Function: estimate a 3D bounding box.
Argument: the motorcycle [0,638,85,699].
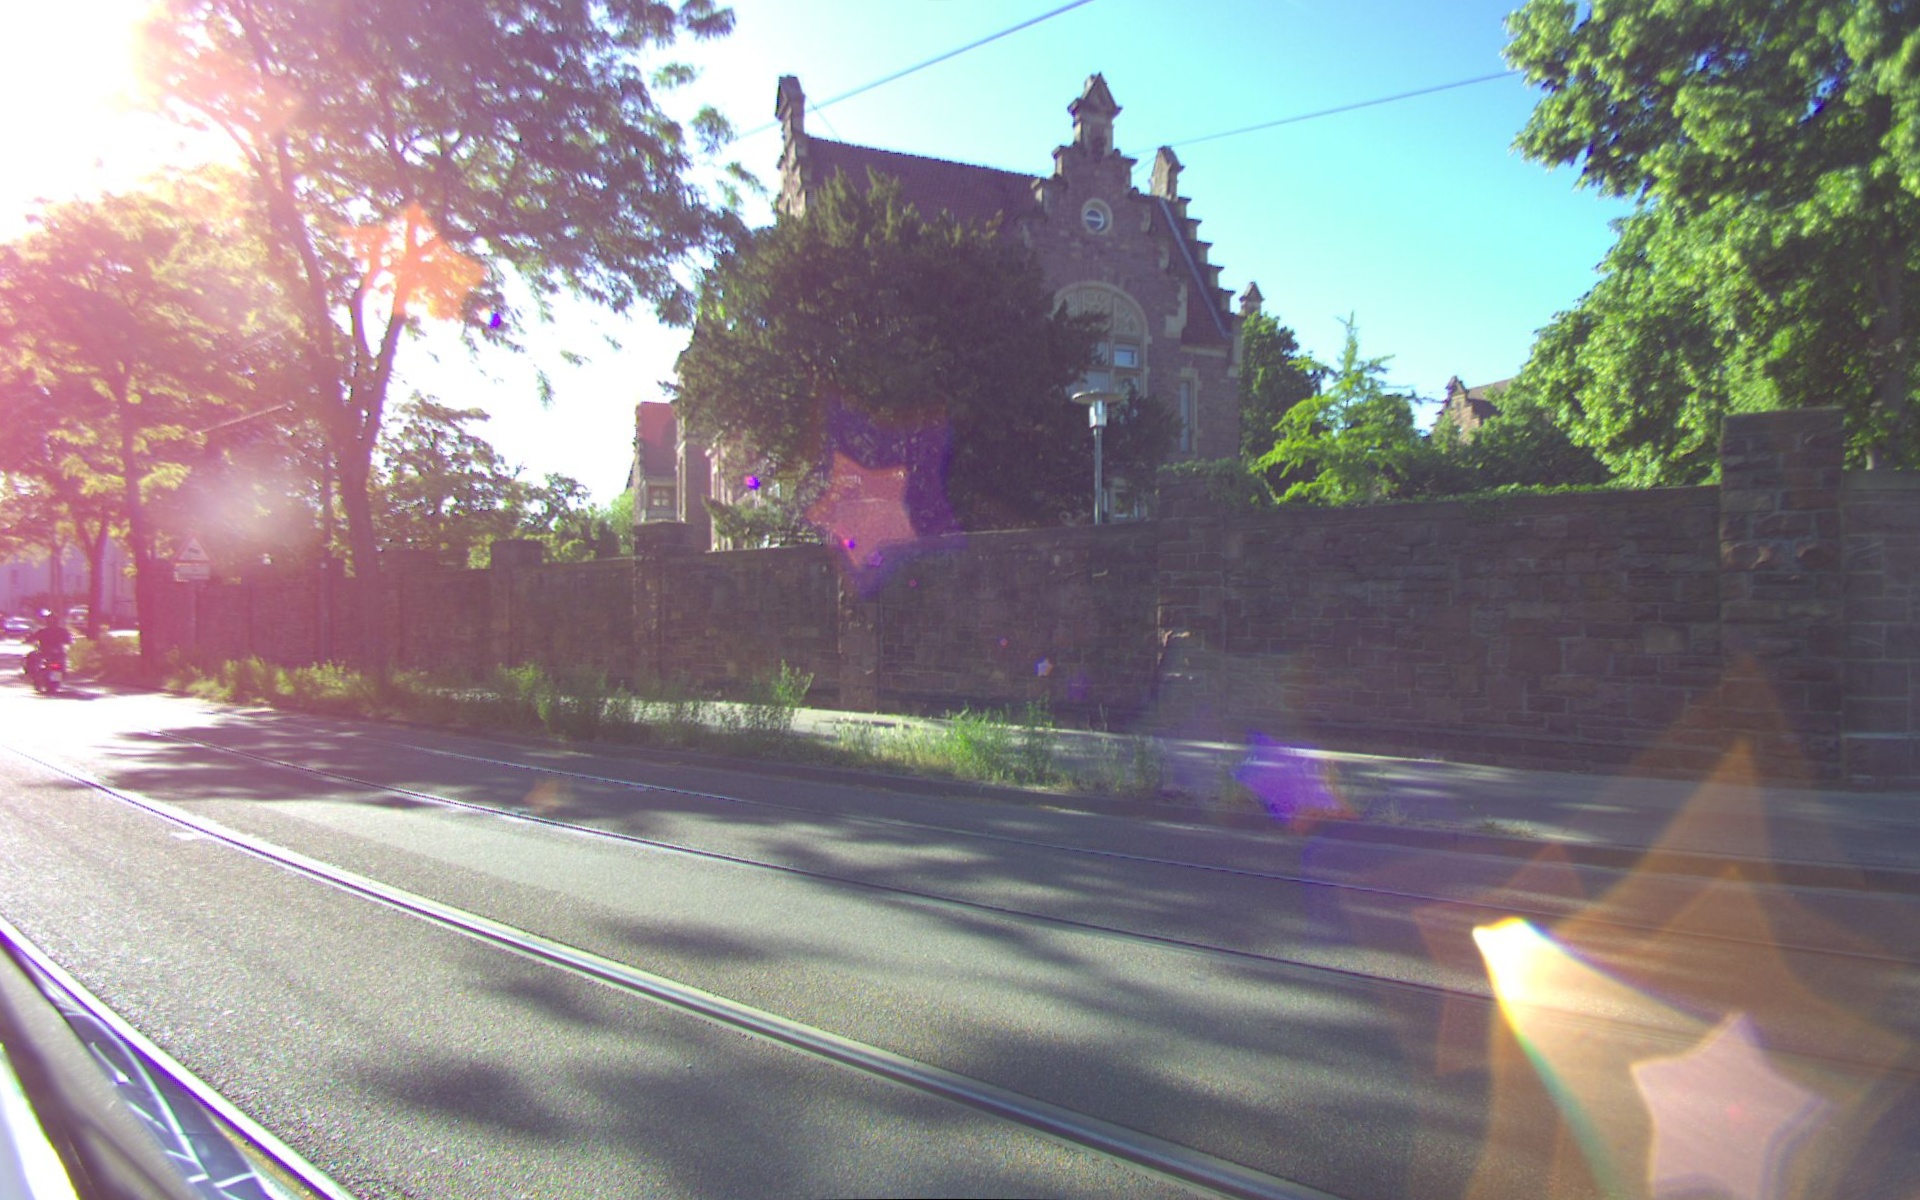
[{"bbox_3d":[-19.059,1.393,20.948,2.424,1.162,0.903,-1,-1,36],"label":"motorcycle"}]

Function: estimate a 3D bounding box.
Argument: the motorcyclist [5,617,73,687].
[{"bbox_3d":[-19.090,1.064,20.981,0.906,1.393,0.881,-1,-1,35],"label":"motorcyclist"}]
